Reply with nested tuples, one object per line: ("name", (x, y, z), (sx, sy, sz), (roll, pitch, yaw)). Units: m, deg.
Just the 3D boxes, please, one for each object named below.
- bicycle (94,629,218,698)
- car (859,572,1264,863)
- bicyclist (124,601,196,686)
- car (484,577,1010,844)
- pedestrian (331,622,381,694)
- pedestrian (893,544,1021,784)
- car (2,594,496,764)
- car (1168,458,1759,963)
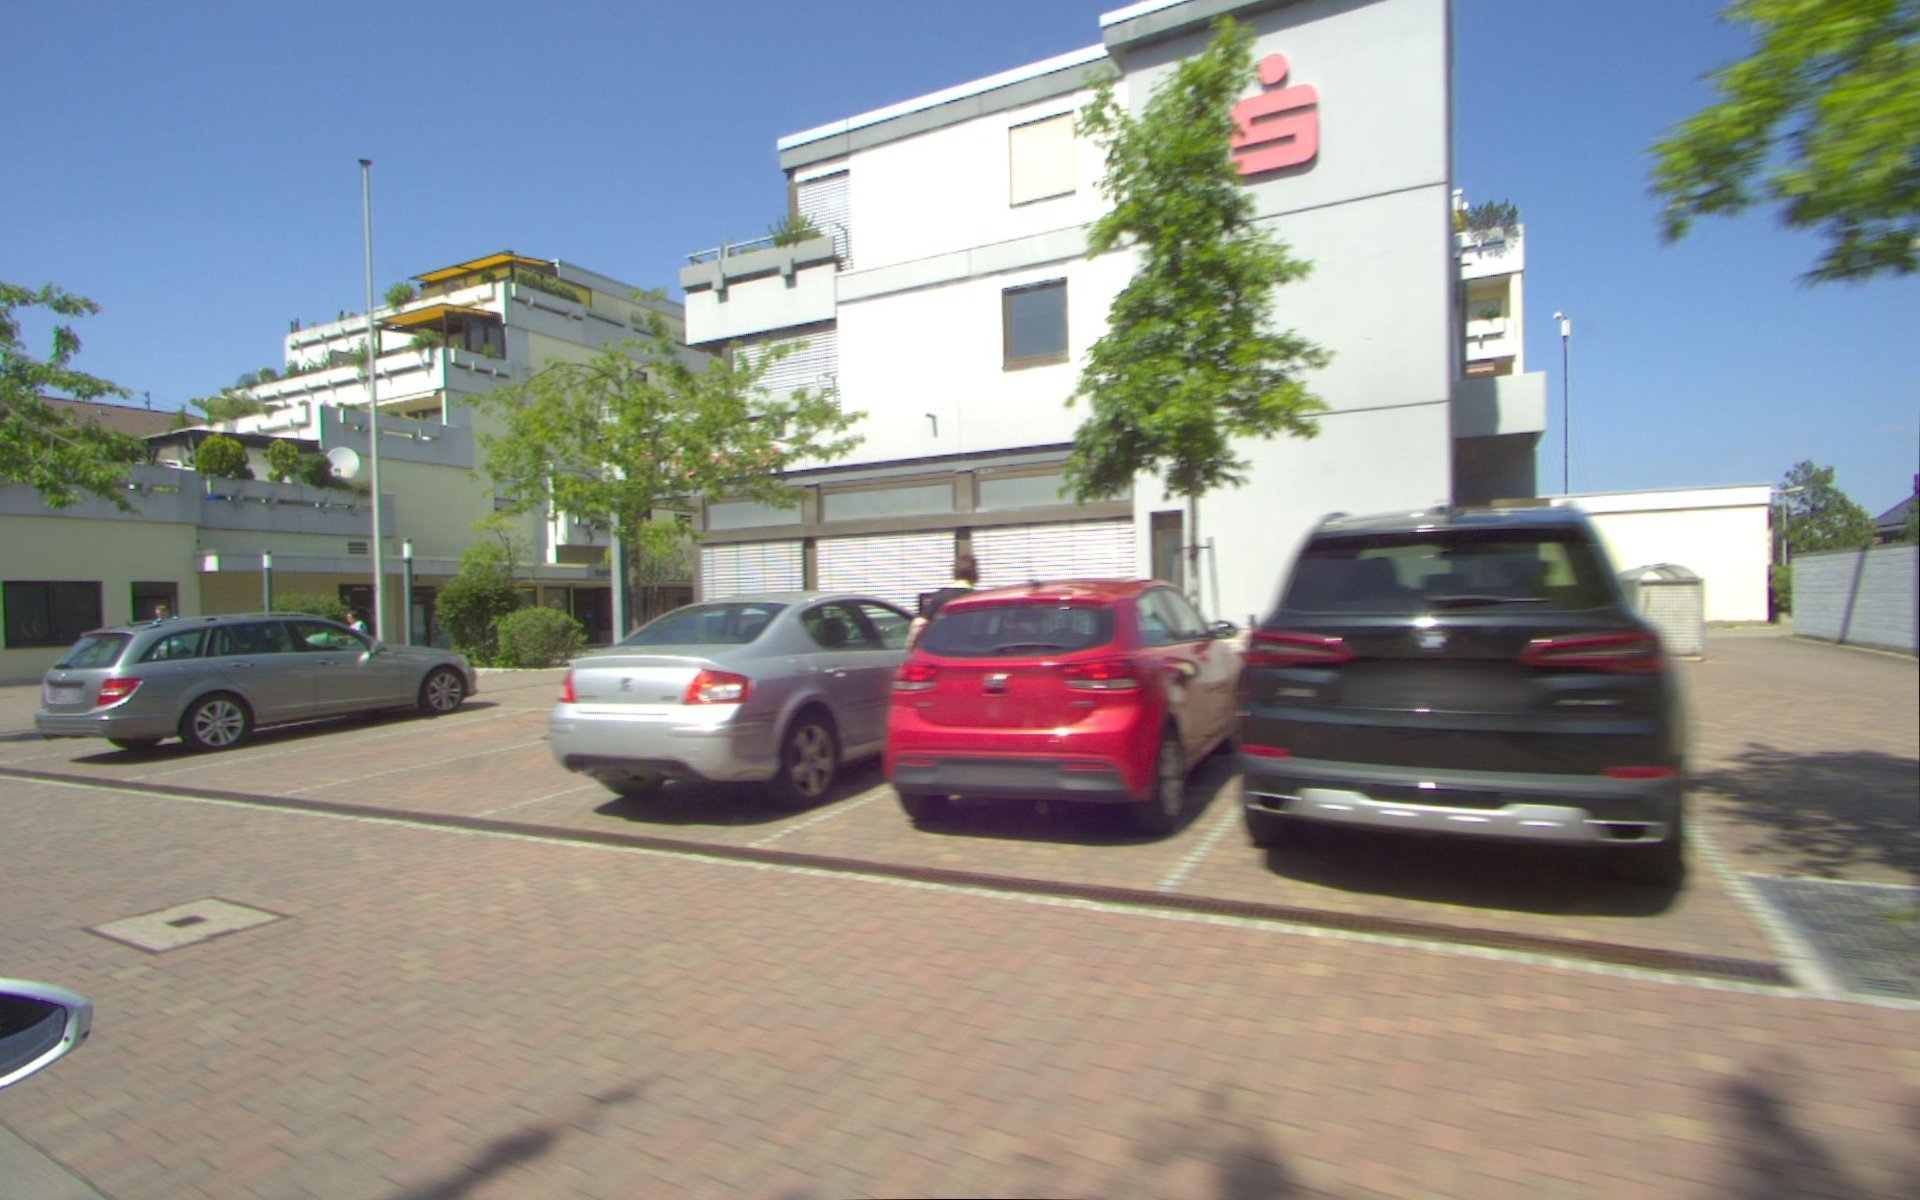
("bicycle", (-15.109, 1.166, 18.889), (0.663, 1.124, 1.895), (-1, 2, 5))
("car", (0.993, 0.571, 7.111), (1.716, 1.472, 3.728), (-1, 1, 25))
("bicyclist", (-15.113, 0.808, 18.930), (0.658, 1.548, 0.761), (-1, 2, 5))
("car", (-1.293, 0.612, 8.171), (1.810, 1.460, 4.533), (-1, 2, 25))
("pedestrian", (-13.336, 1.265, 22.122), (0.793, 1.541, 0.699), (-1, 0, -44))
("pedestrian", (-0.006, 0.463, 7.735), (0.687, 1.740, 0.748), (-1, 2, 24))
("car", (-8.335, 0.799, 12.324), (1.885, 1.533, 4.573), (-2, 1, 25))
("car", (2.973, 0.326, 6.090), (2.114, 1.795, 4.623), (-1, 2, 28))
